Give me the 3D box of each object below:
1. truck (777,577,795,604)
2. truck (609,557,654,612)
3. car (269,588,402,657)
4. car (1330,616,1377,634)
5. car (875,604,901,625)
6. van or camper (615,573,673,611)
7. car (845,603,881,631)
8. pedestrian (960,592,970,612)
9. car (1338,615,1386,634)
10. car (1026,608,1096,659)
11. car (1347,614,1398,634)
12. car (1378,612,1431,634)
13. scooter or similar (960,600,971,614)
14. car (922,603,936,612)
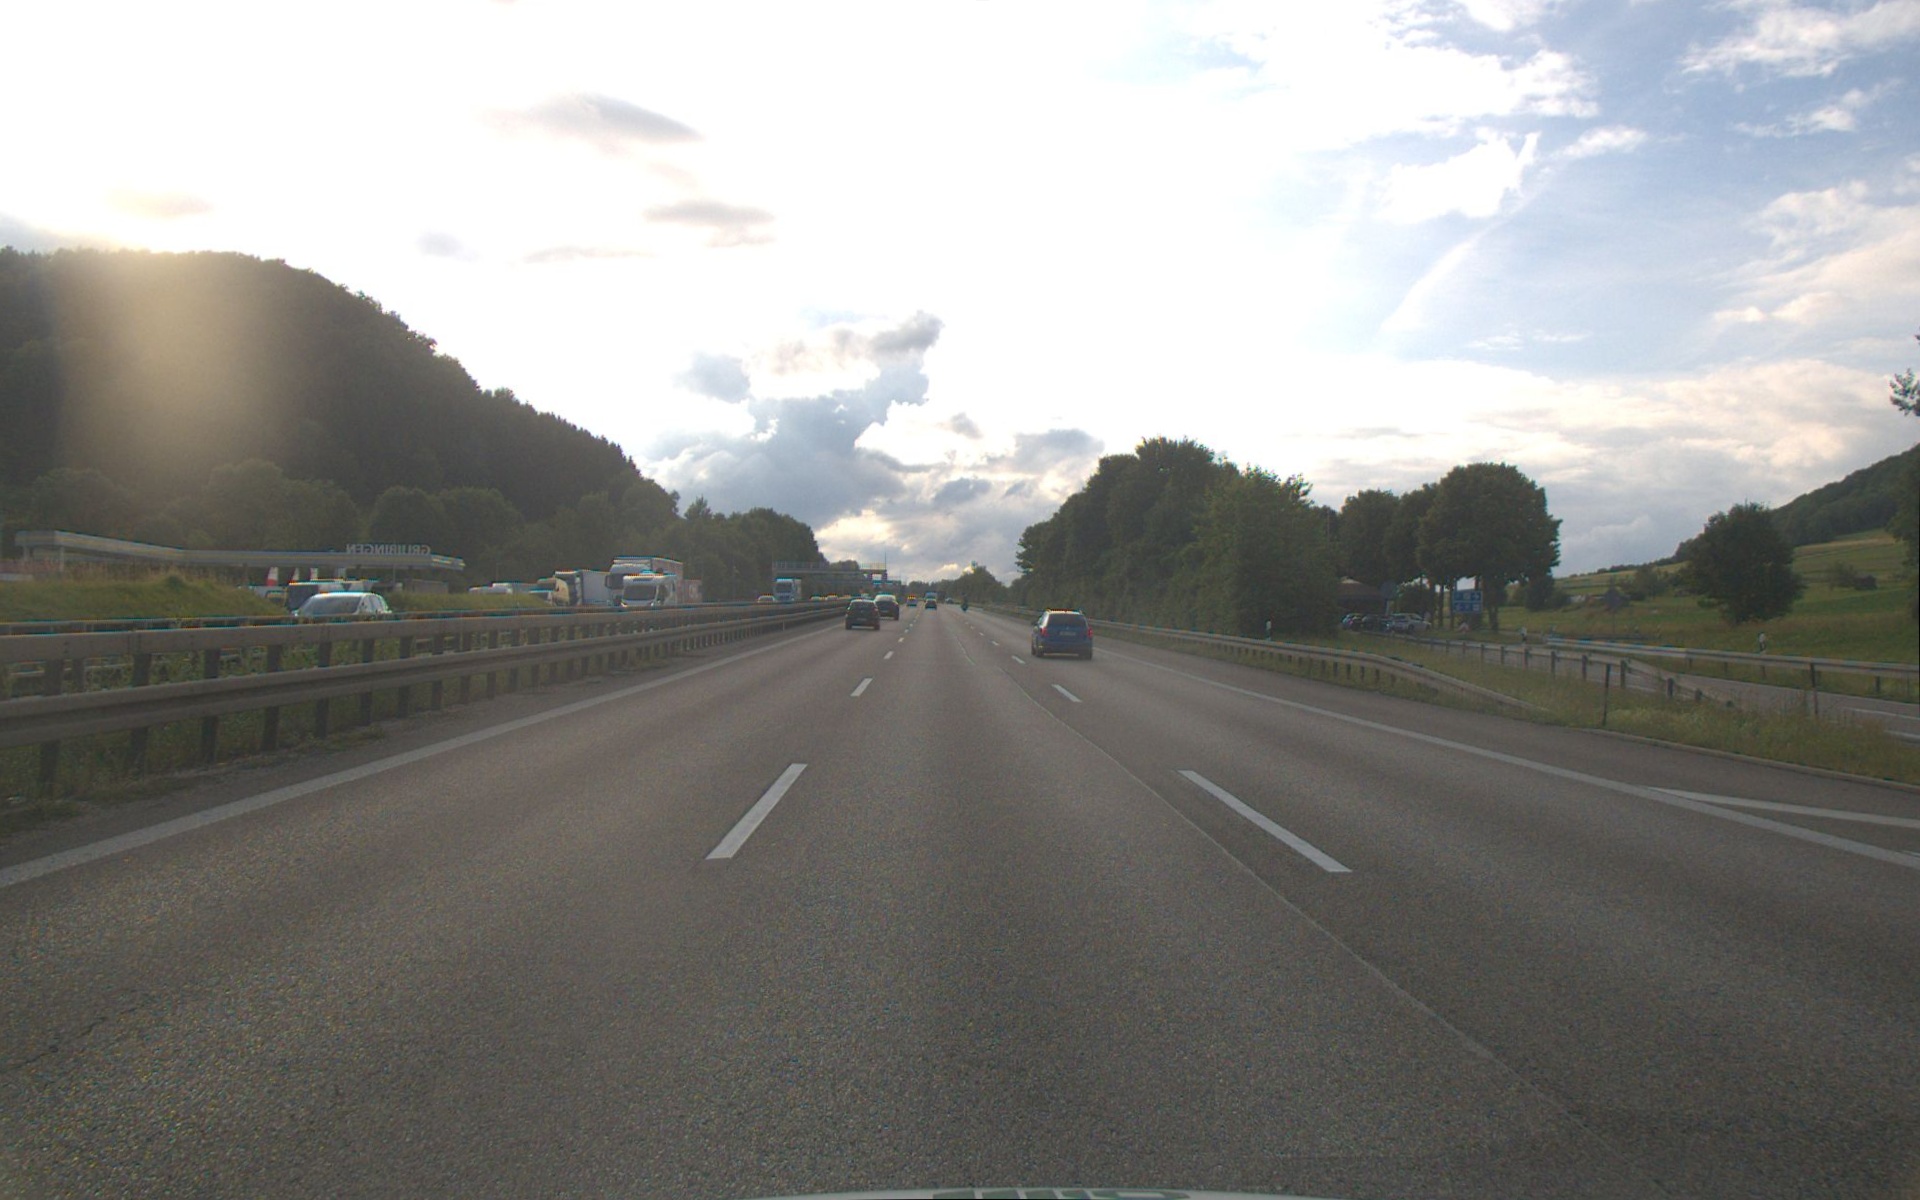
[{"bbox_3d":[-23.890,-1.312,227.594,1.953,3.473,6.735,0,-1,-2],"label":"truck"},{"bbox_3d":[-21.973,-0.971,110.937,1.953,3.473,6.735,0,-1,-2],"label":"truck"},{"bbox_3d":[-15.857,0.596,42.214,1.953,1.652,3.999,0,-1,-1],"label":"car"},{"bbox_3d":[34.448,2.170,144.786,4.272,1.583,1.960,1,-2,-42],"label":"car"},{"bbox_3d":[-5.111,1.012,118.109,1.533,1.404,4.001,-2,0,2],"label":"car"},{"bbox_3d":[-17.034,-0.429,89.386,2.035,1.964,4.346,-2,0,3],"label":"van or camper"},{"bbox_3d":[-4.806,0.831,82.406,1.506,1.371,3.677,0,-1,1],"label":"car"},{"bbox_3d":[0.650,0.282,214.355,1.267,2.495,1.336,-2,0,-1],"label":"pedestrian"},{"bbox_3d":[34.225,2.083,140.786,4.272,1.583,1.960,1,-2,-42],"label":"car"},{"bbox_3d":[3.099,1.016,51.423,1.731,1.458,3.998,2,0,-3],"label":"car"},{"bbox_3d":[33.360,1.927,133.620,4.272,1.583,1.960,1,-2,-42],"label":"car"},{"bbox_3d":[34.131,1.770,126.892,4.272,1.583,1.960,1,-2,-42],"label":"car"},{"bbox_3d":[0.674,0.940,214.601,1.276,1.702,3.900,-2,0,-1],"label":"scooter or similar"},{"bbox_3d":[-4.446,1.046,238.952,1.717,1.243,3.995,-2,0,-6],"label":"car"}]
